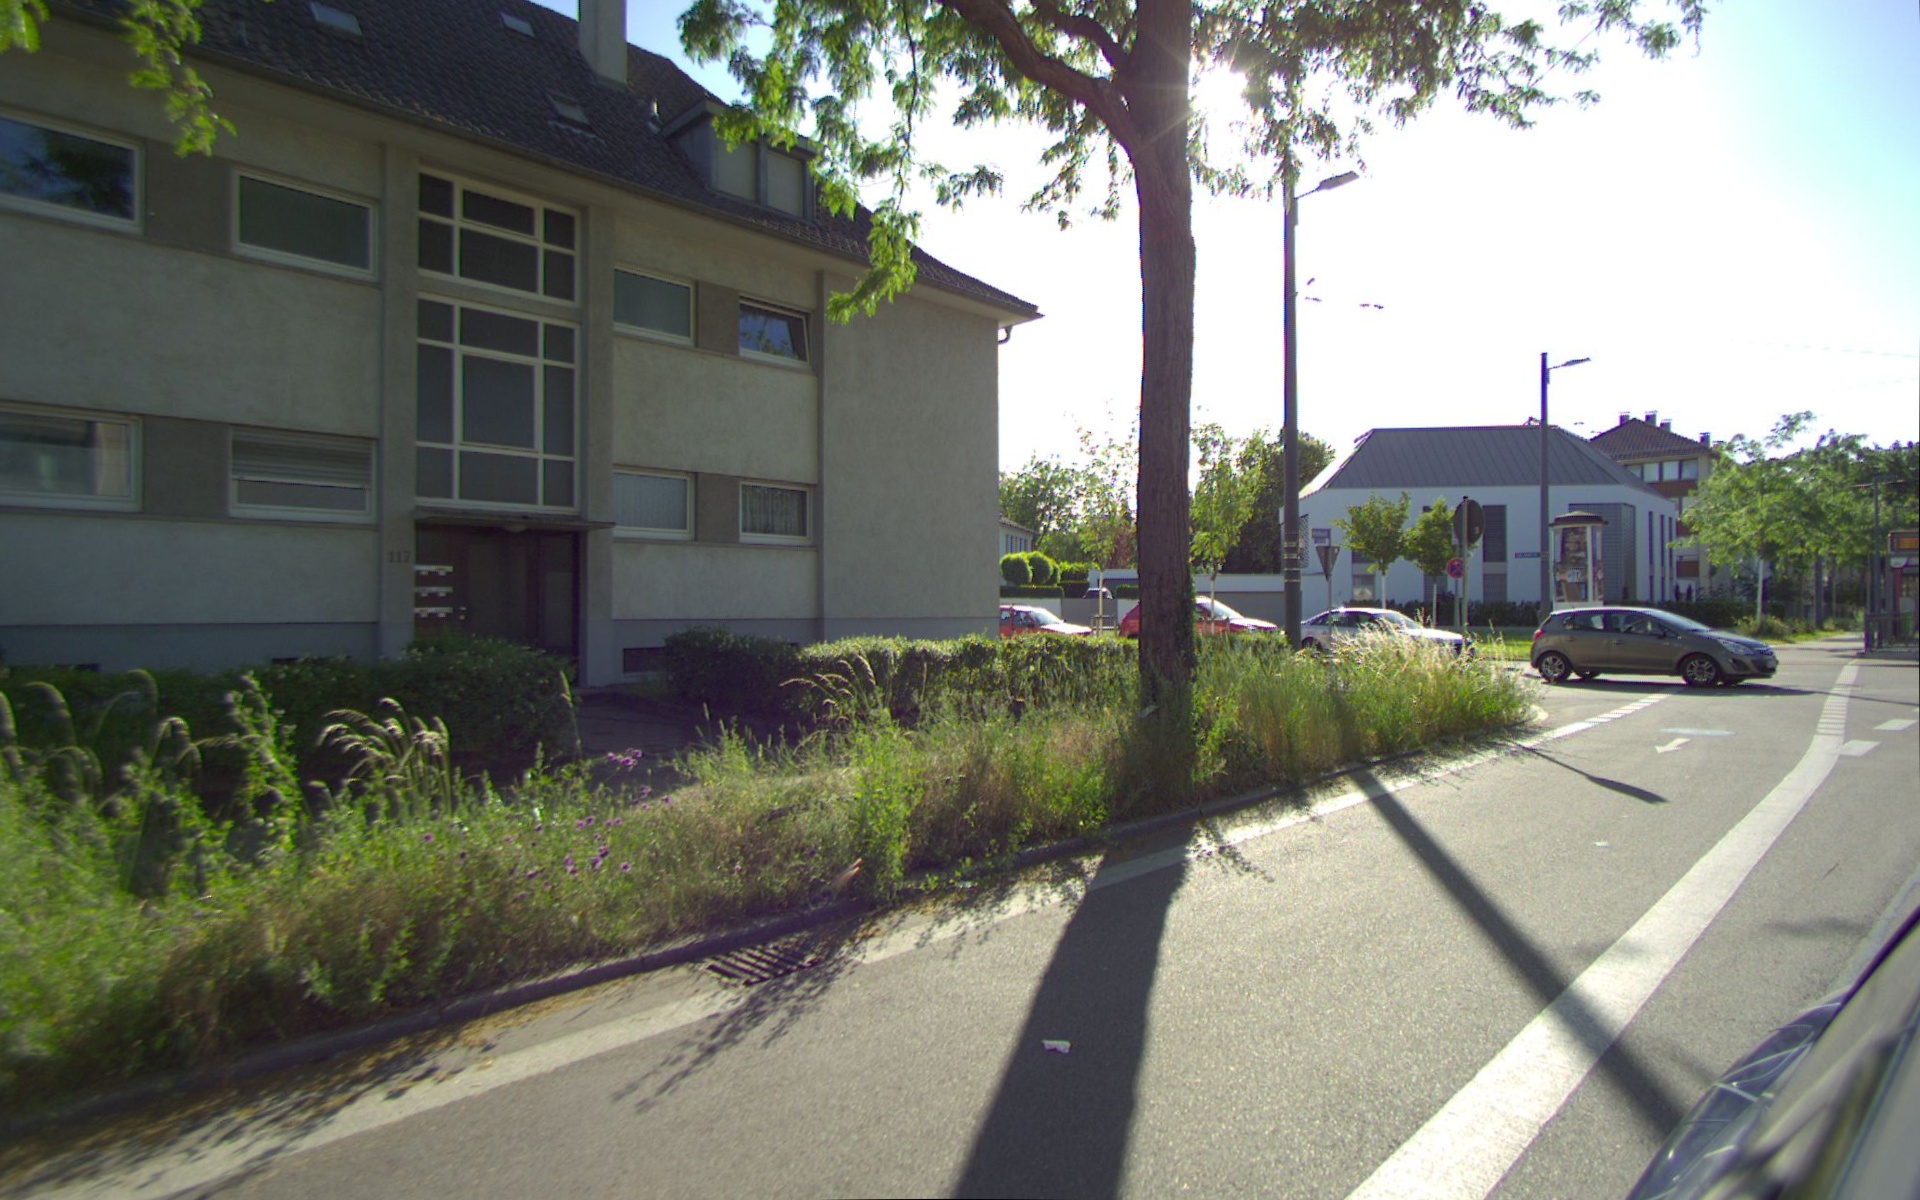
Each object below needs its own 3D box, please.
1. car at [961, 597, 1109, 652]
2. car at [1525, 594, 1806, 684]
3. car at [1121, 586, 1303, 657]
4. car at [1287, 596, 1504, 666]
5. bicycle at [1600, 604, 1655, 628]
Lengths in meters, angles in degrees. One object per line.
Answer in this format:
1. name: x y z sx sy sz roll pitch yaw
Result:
1. car: 2.208 0.704 30.599 4.158 1.527 1.952 -1 -1 41
2. car: 13.428 0.673 19.475 1.944 1.527 4.000 0 0 -34
3. car: 6.409 0.526 26.052 1.950 1.663 4.163 0 -1 -45
4. car: 10.537 0.686 24.850 1.943 1.484 4.621 -2 1 -32
5. bicycle: 28.085 0.669 42.614 1.895 0.991 0.484 0 0 40
